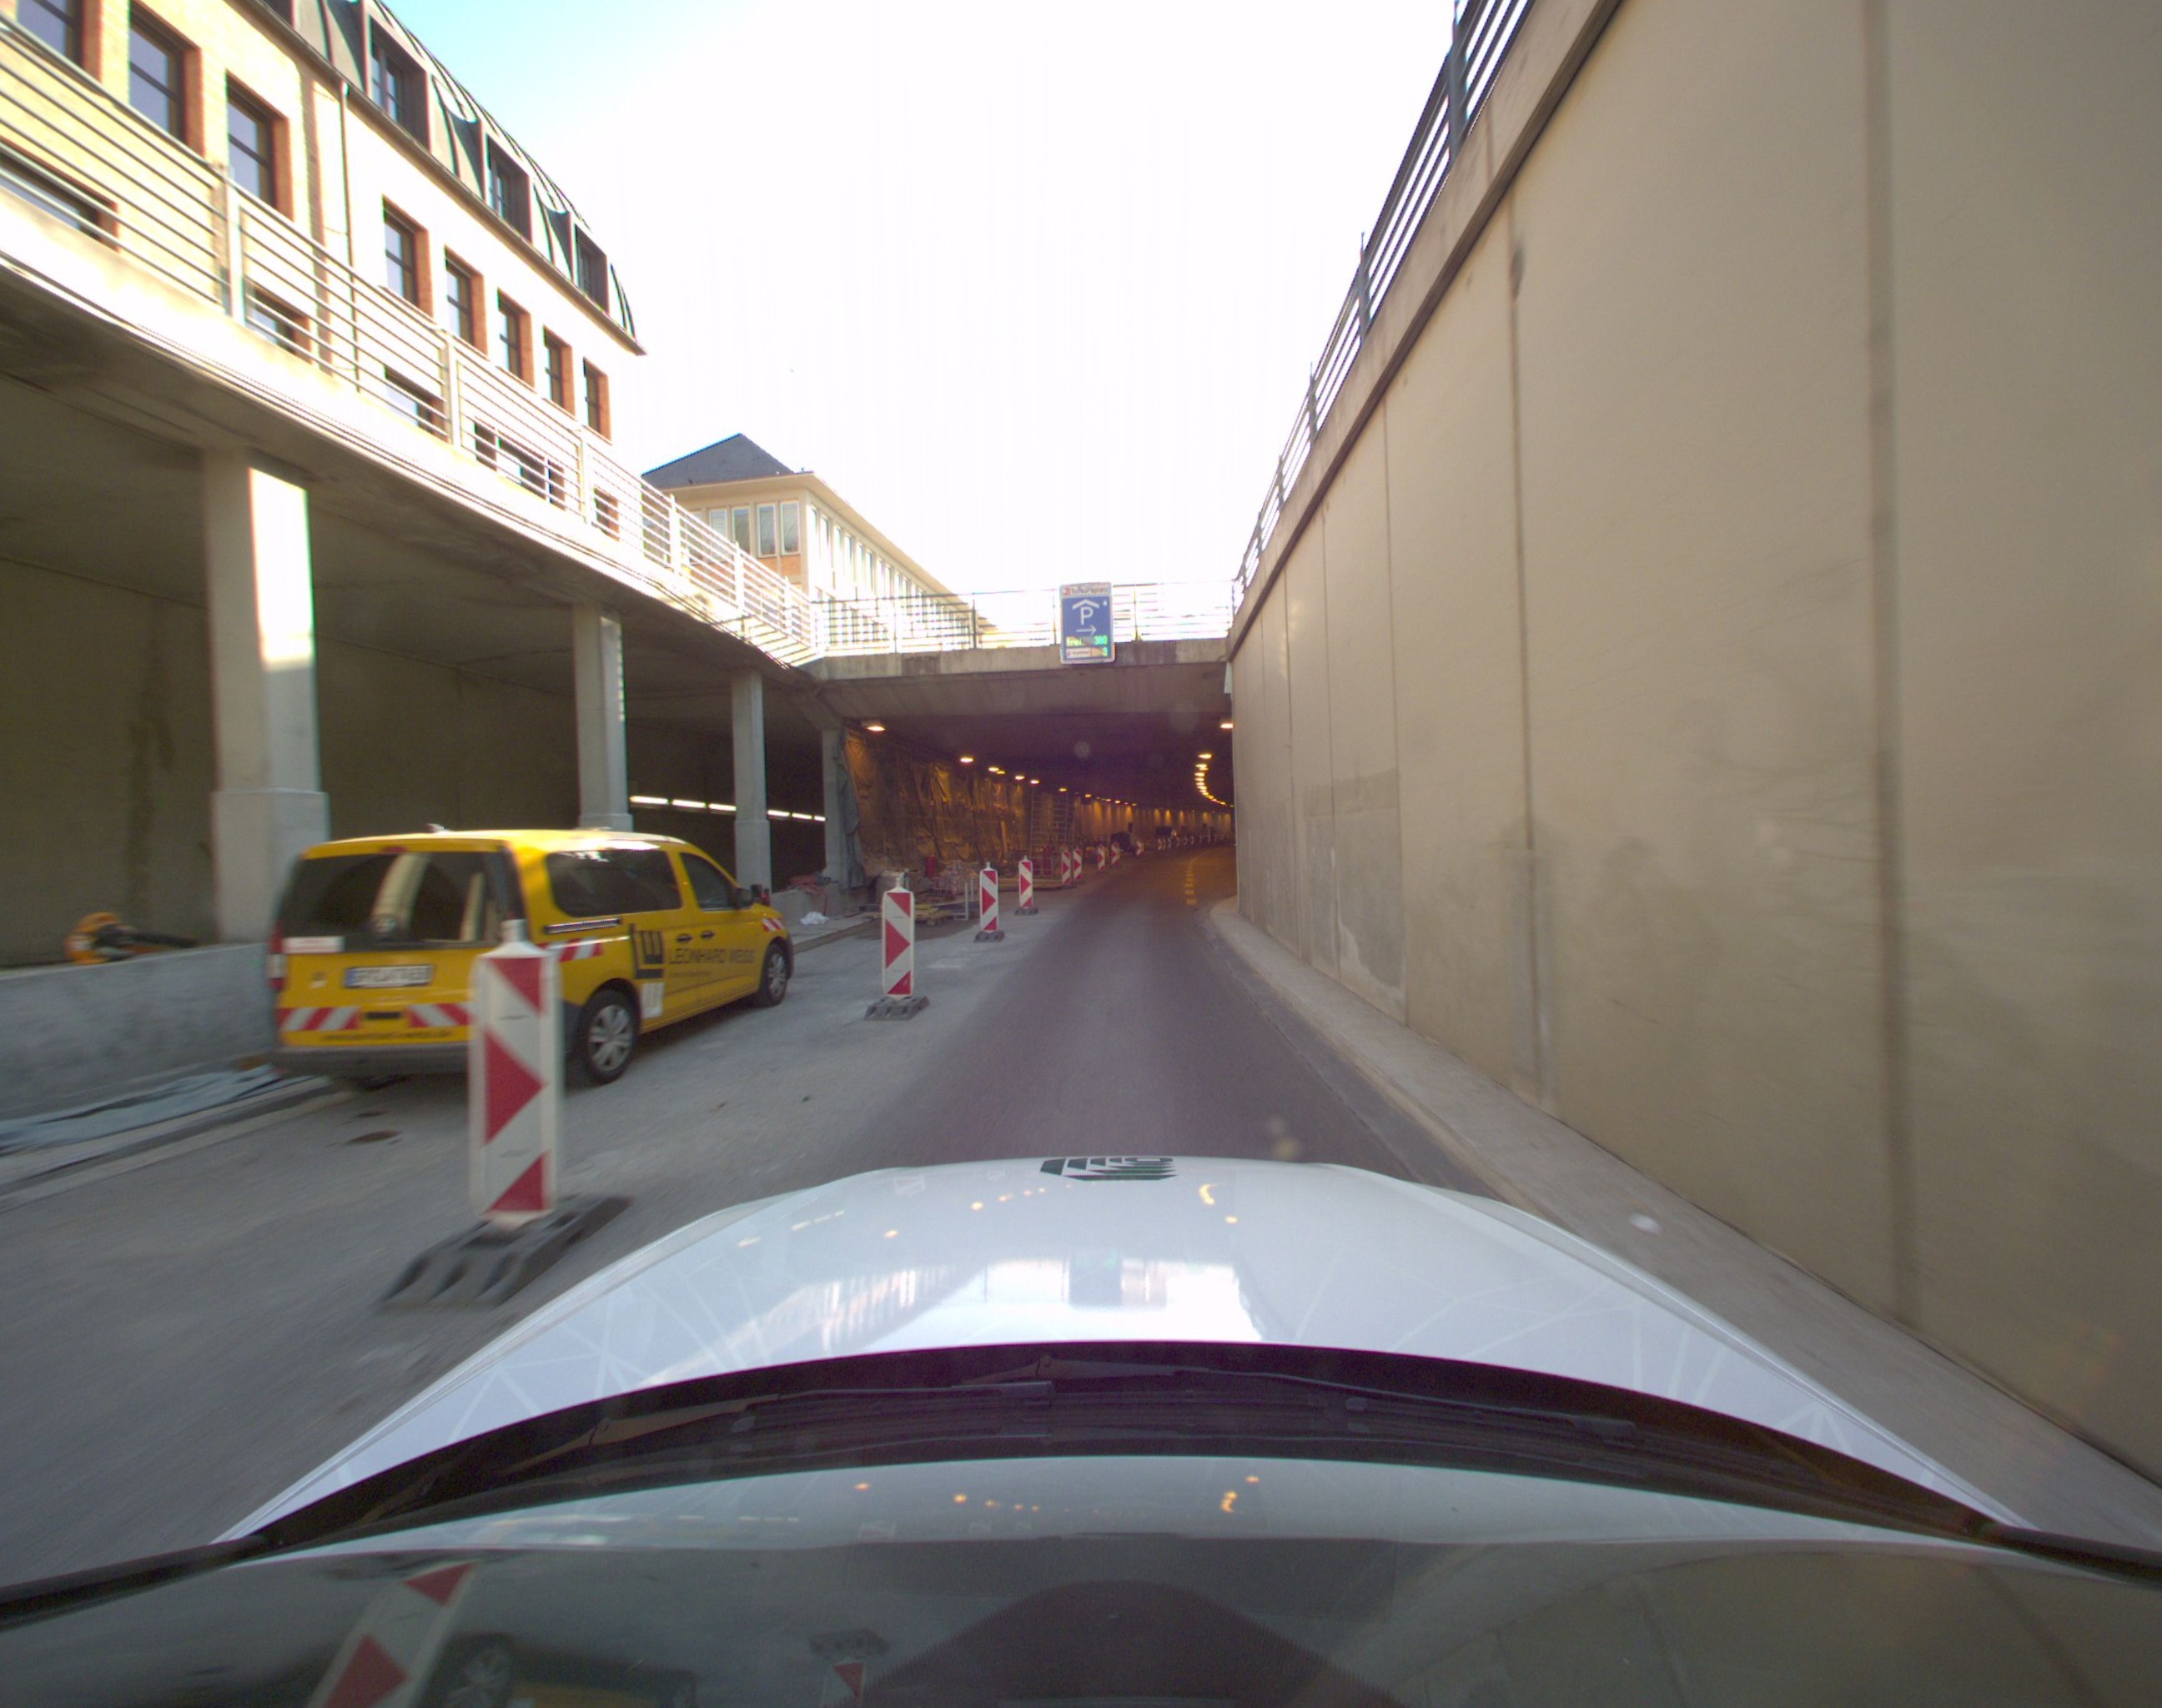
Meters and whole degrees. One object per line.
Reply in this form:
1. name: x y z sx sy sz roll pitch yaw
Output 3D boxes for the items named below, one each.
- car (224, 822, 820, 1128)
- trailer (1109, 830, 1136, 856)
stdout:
1. car: -4.005 0.689 6.998 1.840 1.775 4.438 -1 1 3
2. trailer: 2.951 -0.771 57.477 1.571 1.798 2.948 0 1 10
